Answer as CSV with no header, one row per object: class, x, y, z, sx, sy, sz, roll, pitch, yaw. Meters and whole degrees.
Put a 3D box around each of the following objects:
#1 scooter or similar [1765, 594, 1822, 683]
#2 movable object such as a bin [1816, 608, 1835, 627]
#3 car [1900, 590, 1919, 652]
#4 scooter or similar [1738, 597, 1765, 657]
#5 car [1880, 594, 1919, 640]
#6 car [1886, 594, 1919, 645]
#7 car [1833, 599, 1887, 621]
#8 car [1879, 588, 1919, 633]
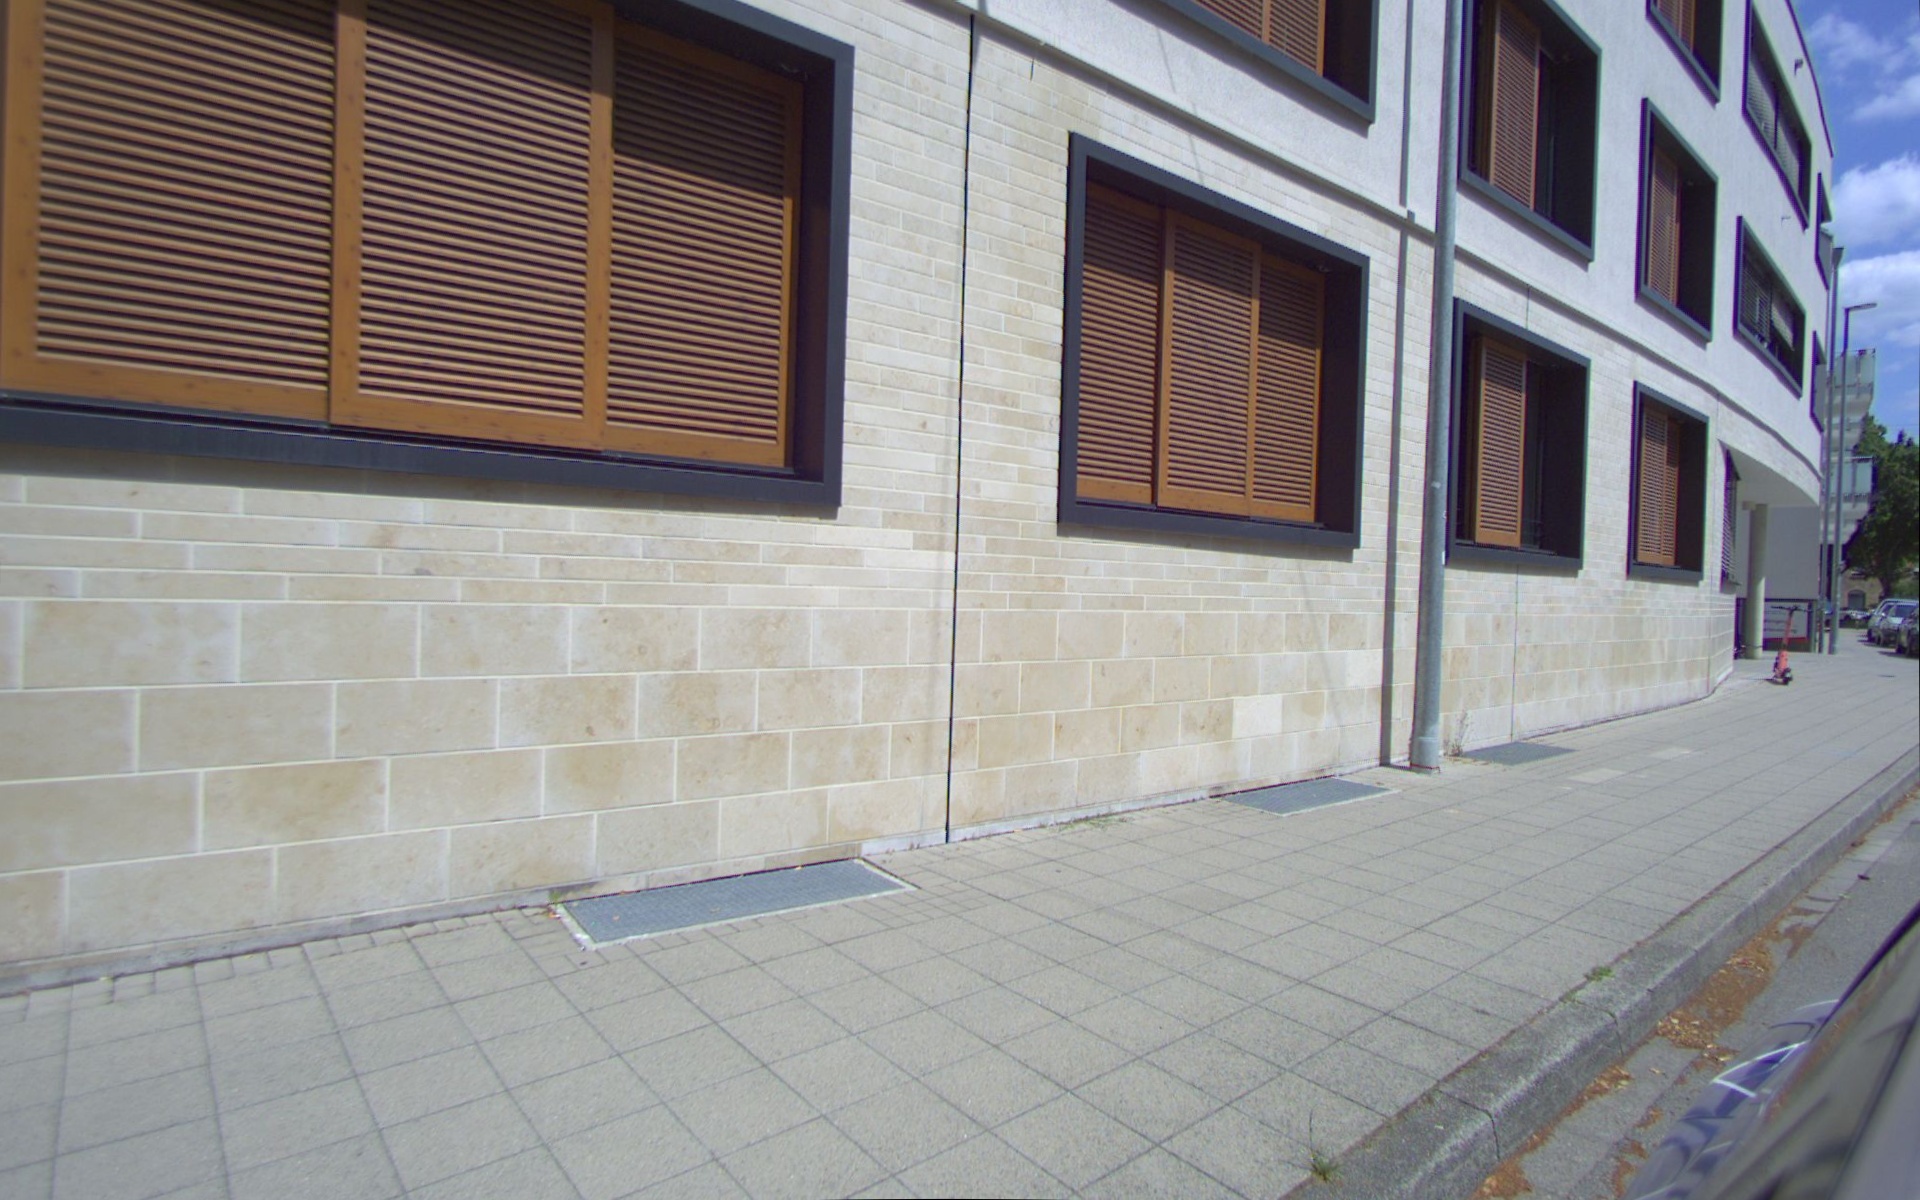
scooter or similar,12.920,0.563,15.679,0.581,1.276,1.347,5,3,40
movable object such as a bin,47.145,0.945,55.142,0.622,0.973,0.618,1,1,-33
car,25.660,0.585,25.947,1.797,1.527,4.485,7,5,38
scooter or similar,16.844,0.549,21.538,0.421,1.226,1.296,2,1,38
car,33.115,0.583,34.988,1.728,1.450,3.978,7,5,44
car,29.845,0.611,31.212,1.592,1.450,3.653,7,5,40
car,80.103,0.859,90.102,1.749,1.633,3.861,7,3,12
car,38.274,0.414,40.564,3.736,1.630,1.730,-1,4,-43
